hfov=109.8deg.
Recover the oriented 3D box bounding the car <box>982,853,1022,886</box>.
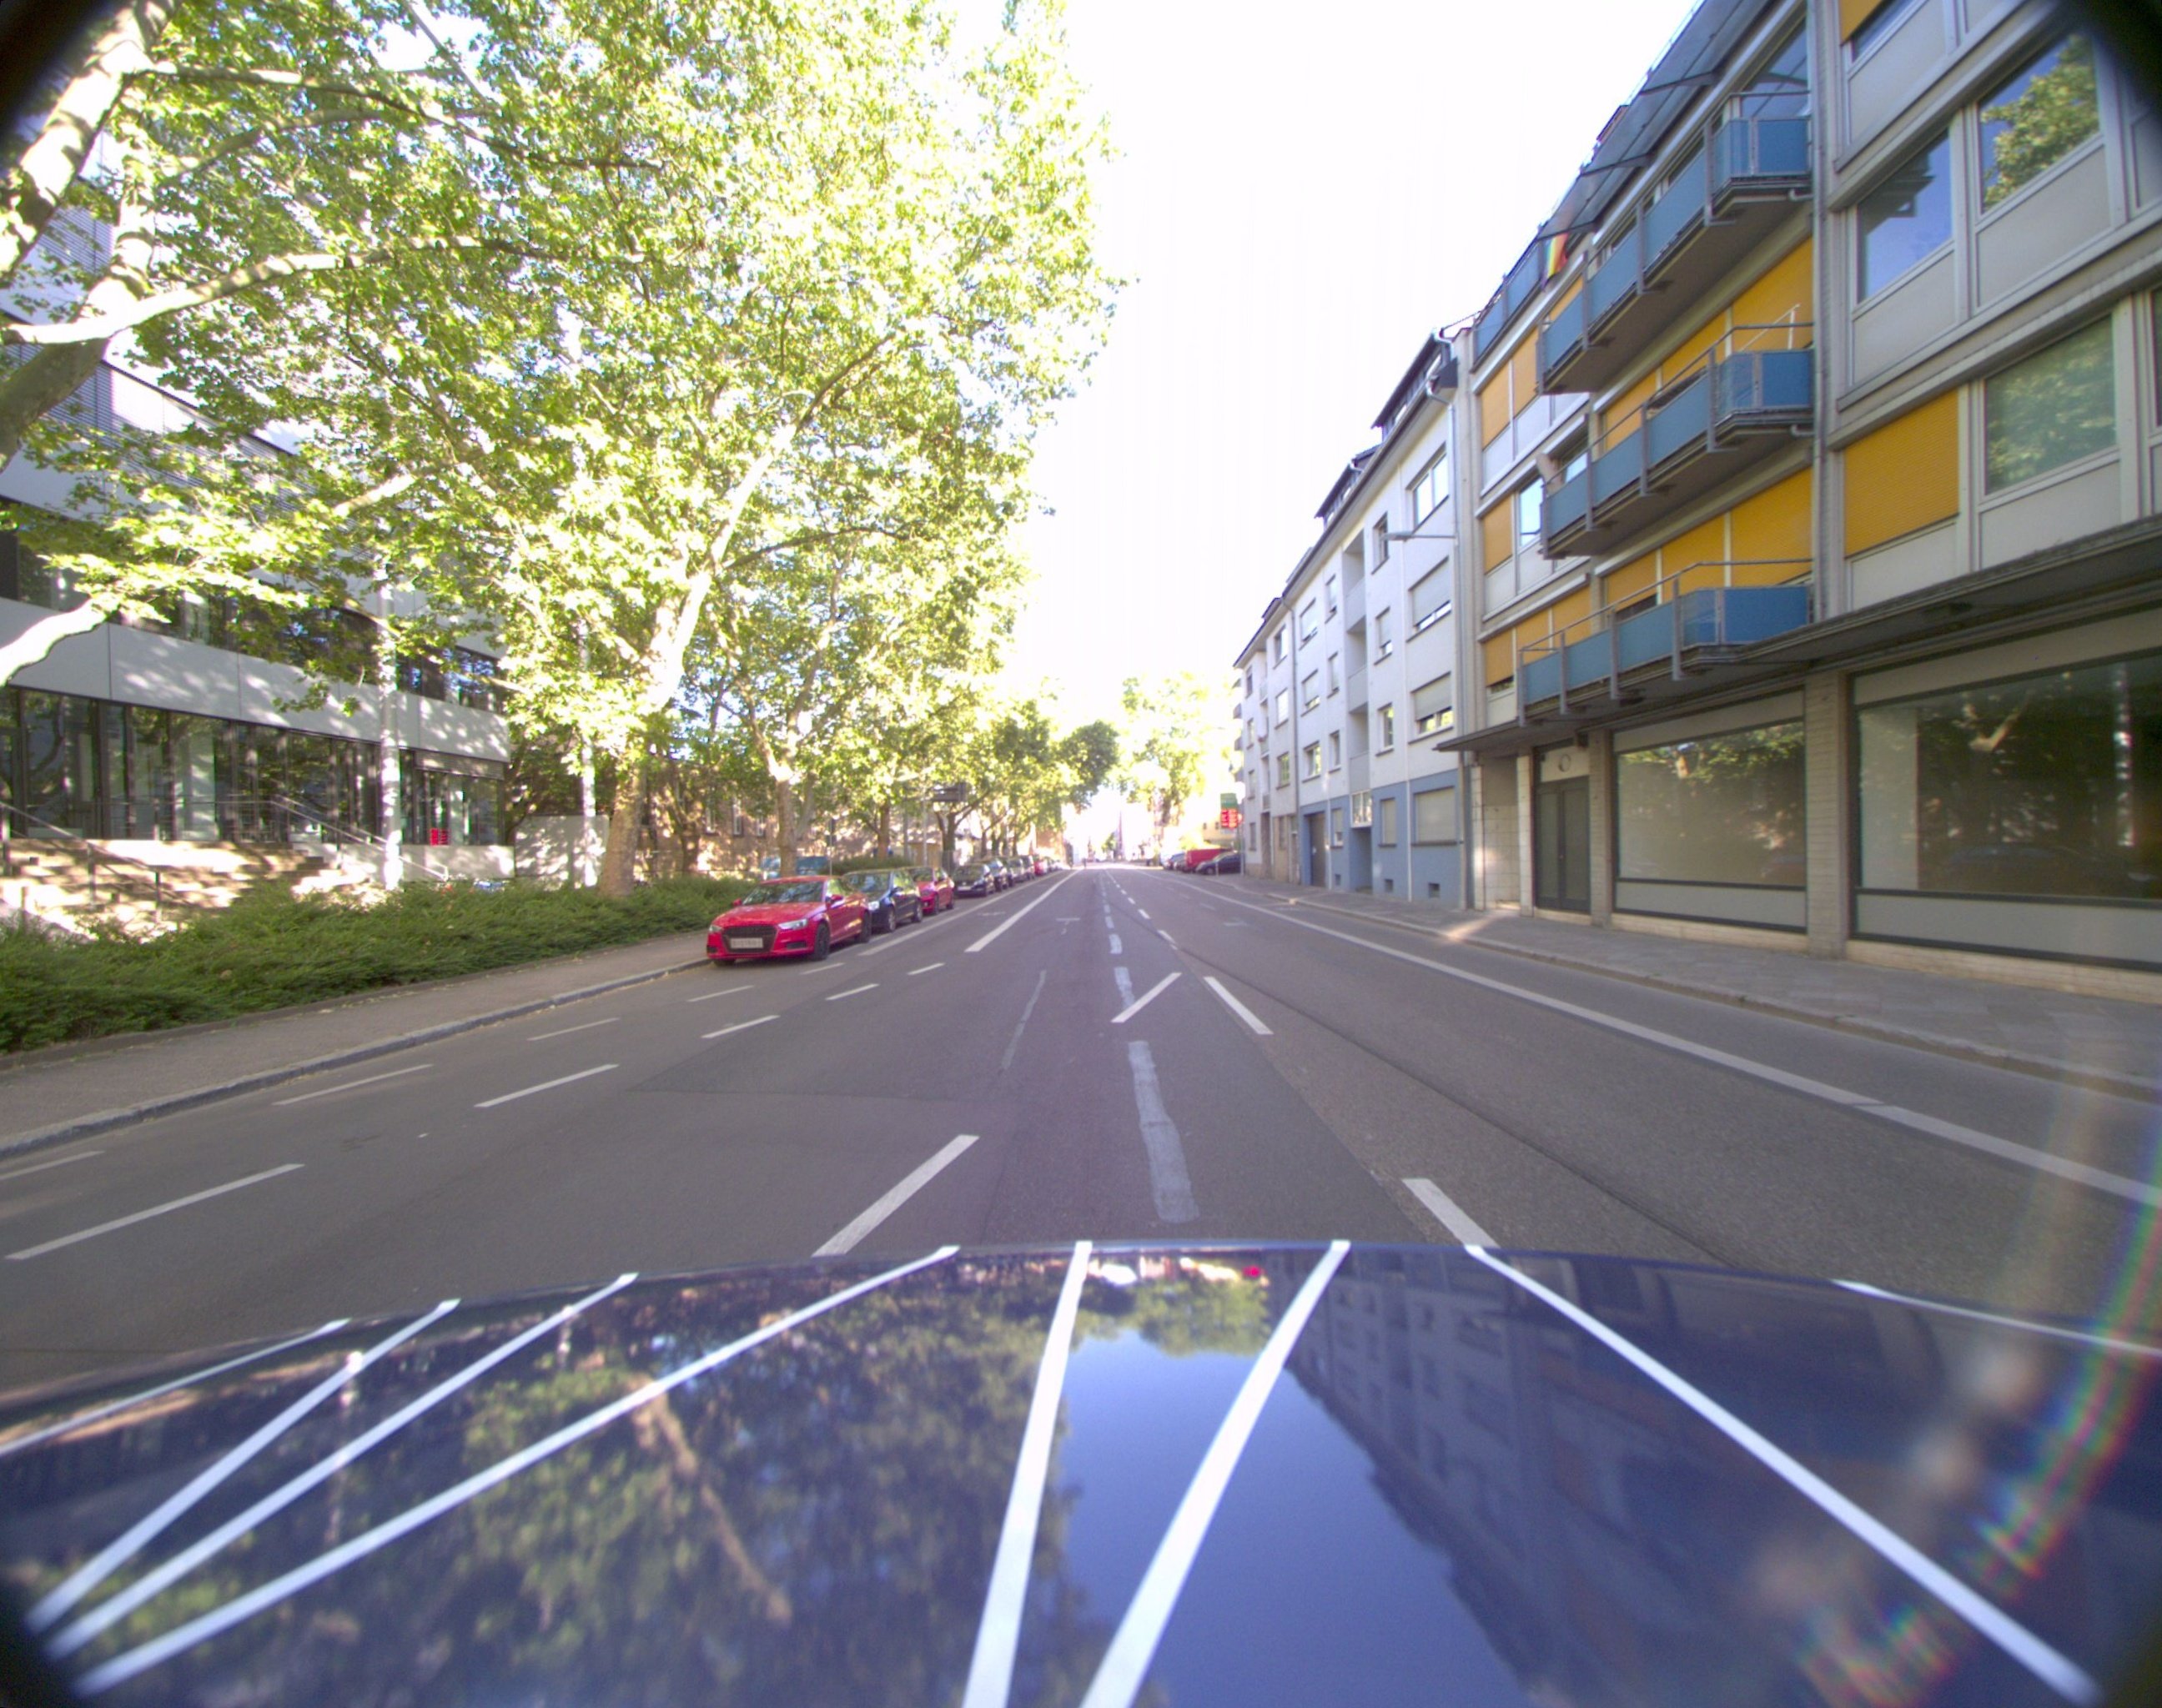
[{"bbox_3d":[-4.525,0.867,44.150,1.790,1.745,4.345,-3,0,0],"label":"car"}]

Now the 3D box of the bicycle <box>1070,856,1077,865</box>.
[{"bbox_3d":[-0.947,0.816,98.267,0.717,1.052,2.485,-2,1,1],"label":"bicycle"}]

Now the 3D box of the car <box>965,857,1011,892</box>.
[{"bbox_3d":[-4.602,0.976,38.134,1.790,1.544,4.163,-3,0,0],"label":"car"}]

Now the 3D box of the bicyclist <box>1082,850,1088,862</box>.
[{"bbox_3d":[0.565,0.218,99.218,0.718,1.573,0.936,-2,1,1],"label":"bicyclist"}]

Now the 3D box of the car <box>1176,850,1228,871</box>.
[{"bbox_3d":[9.976,0.521,62.847,3.996,1.494,1.761,-2,1,2],"label":"car"}]

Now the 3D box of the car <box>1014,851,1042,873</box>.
[{"bbox_3d":[-4.593,0.697,66.095,2.042,1.745,4.552,-3,0,0],"label":"car"}]

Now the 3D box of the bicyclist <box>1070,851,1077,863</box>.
[{"bbox_3d":[-0.960,0.363,98.147,0.718,1.573,0.936,-2,1,1],"label":"bicyclist"}]

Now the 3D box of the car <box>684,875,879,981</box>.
[{"bbox_3d":[-5.138,1.191,13.722,1.818,1.405,4.163,-3,0,0],"label":"car"}]

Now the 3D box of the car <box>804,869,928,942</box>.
[{"bbox_3d":[-5.083,1.168,18.578,1.818,1.405,4.163,-3,0,0],"label":"car"}]

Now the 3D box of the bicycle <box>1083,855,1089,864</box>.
[{"bbox_3d":[0.618,0.685,99.559,0.717,1.052,2.485,-2,1,1],"label":"bicycle"}]

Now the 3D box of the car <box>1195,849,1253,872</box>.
[{"bbox_3d":[10.726,0.474,57.145,3.996,1.494,1.761,-2,1,2],"label":"car"}]

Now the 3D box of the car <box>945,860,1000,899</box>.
[{"bbox_3d":[-4.703,1.076,33.388,1.790,1.451,4.163,-3,0,0],"label":"car"}]

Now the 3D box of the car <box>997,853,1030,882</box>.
[{"bbox_3d":[-4.447,0.850,50.706,1.790,1.745,4.552,-3,0,0],"label":"car"}]

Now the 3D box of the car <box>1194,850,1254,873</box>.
[{"bbox_3d":[10.252,0.541,54.797,3.996,1.449,1.761,-2,1,2],"label":"car"}]

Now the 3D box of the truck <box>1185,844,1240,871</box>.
[{"bbox_3d":[10.366,0.241,59.994,3.996,1.925,1.761,-2,1,2],"label":"truck"}]

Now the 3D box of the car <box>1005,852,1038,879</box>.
[{"bbox_3d":[-4.319,0.794,55.664,2.042,1.745,4.552,-3,0,0],"label":"car"}]

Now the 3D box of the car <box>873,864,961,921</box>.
[{"bbox_3d":[-5.030,1.122,23.861,1.818,1.475,4.163,-3,0,0],"label":"car"}]
